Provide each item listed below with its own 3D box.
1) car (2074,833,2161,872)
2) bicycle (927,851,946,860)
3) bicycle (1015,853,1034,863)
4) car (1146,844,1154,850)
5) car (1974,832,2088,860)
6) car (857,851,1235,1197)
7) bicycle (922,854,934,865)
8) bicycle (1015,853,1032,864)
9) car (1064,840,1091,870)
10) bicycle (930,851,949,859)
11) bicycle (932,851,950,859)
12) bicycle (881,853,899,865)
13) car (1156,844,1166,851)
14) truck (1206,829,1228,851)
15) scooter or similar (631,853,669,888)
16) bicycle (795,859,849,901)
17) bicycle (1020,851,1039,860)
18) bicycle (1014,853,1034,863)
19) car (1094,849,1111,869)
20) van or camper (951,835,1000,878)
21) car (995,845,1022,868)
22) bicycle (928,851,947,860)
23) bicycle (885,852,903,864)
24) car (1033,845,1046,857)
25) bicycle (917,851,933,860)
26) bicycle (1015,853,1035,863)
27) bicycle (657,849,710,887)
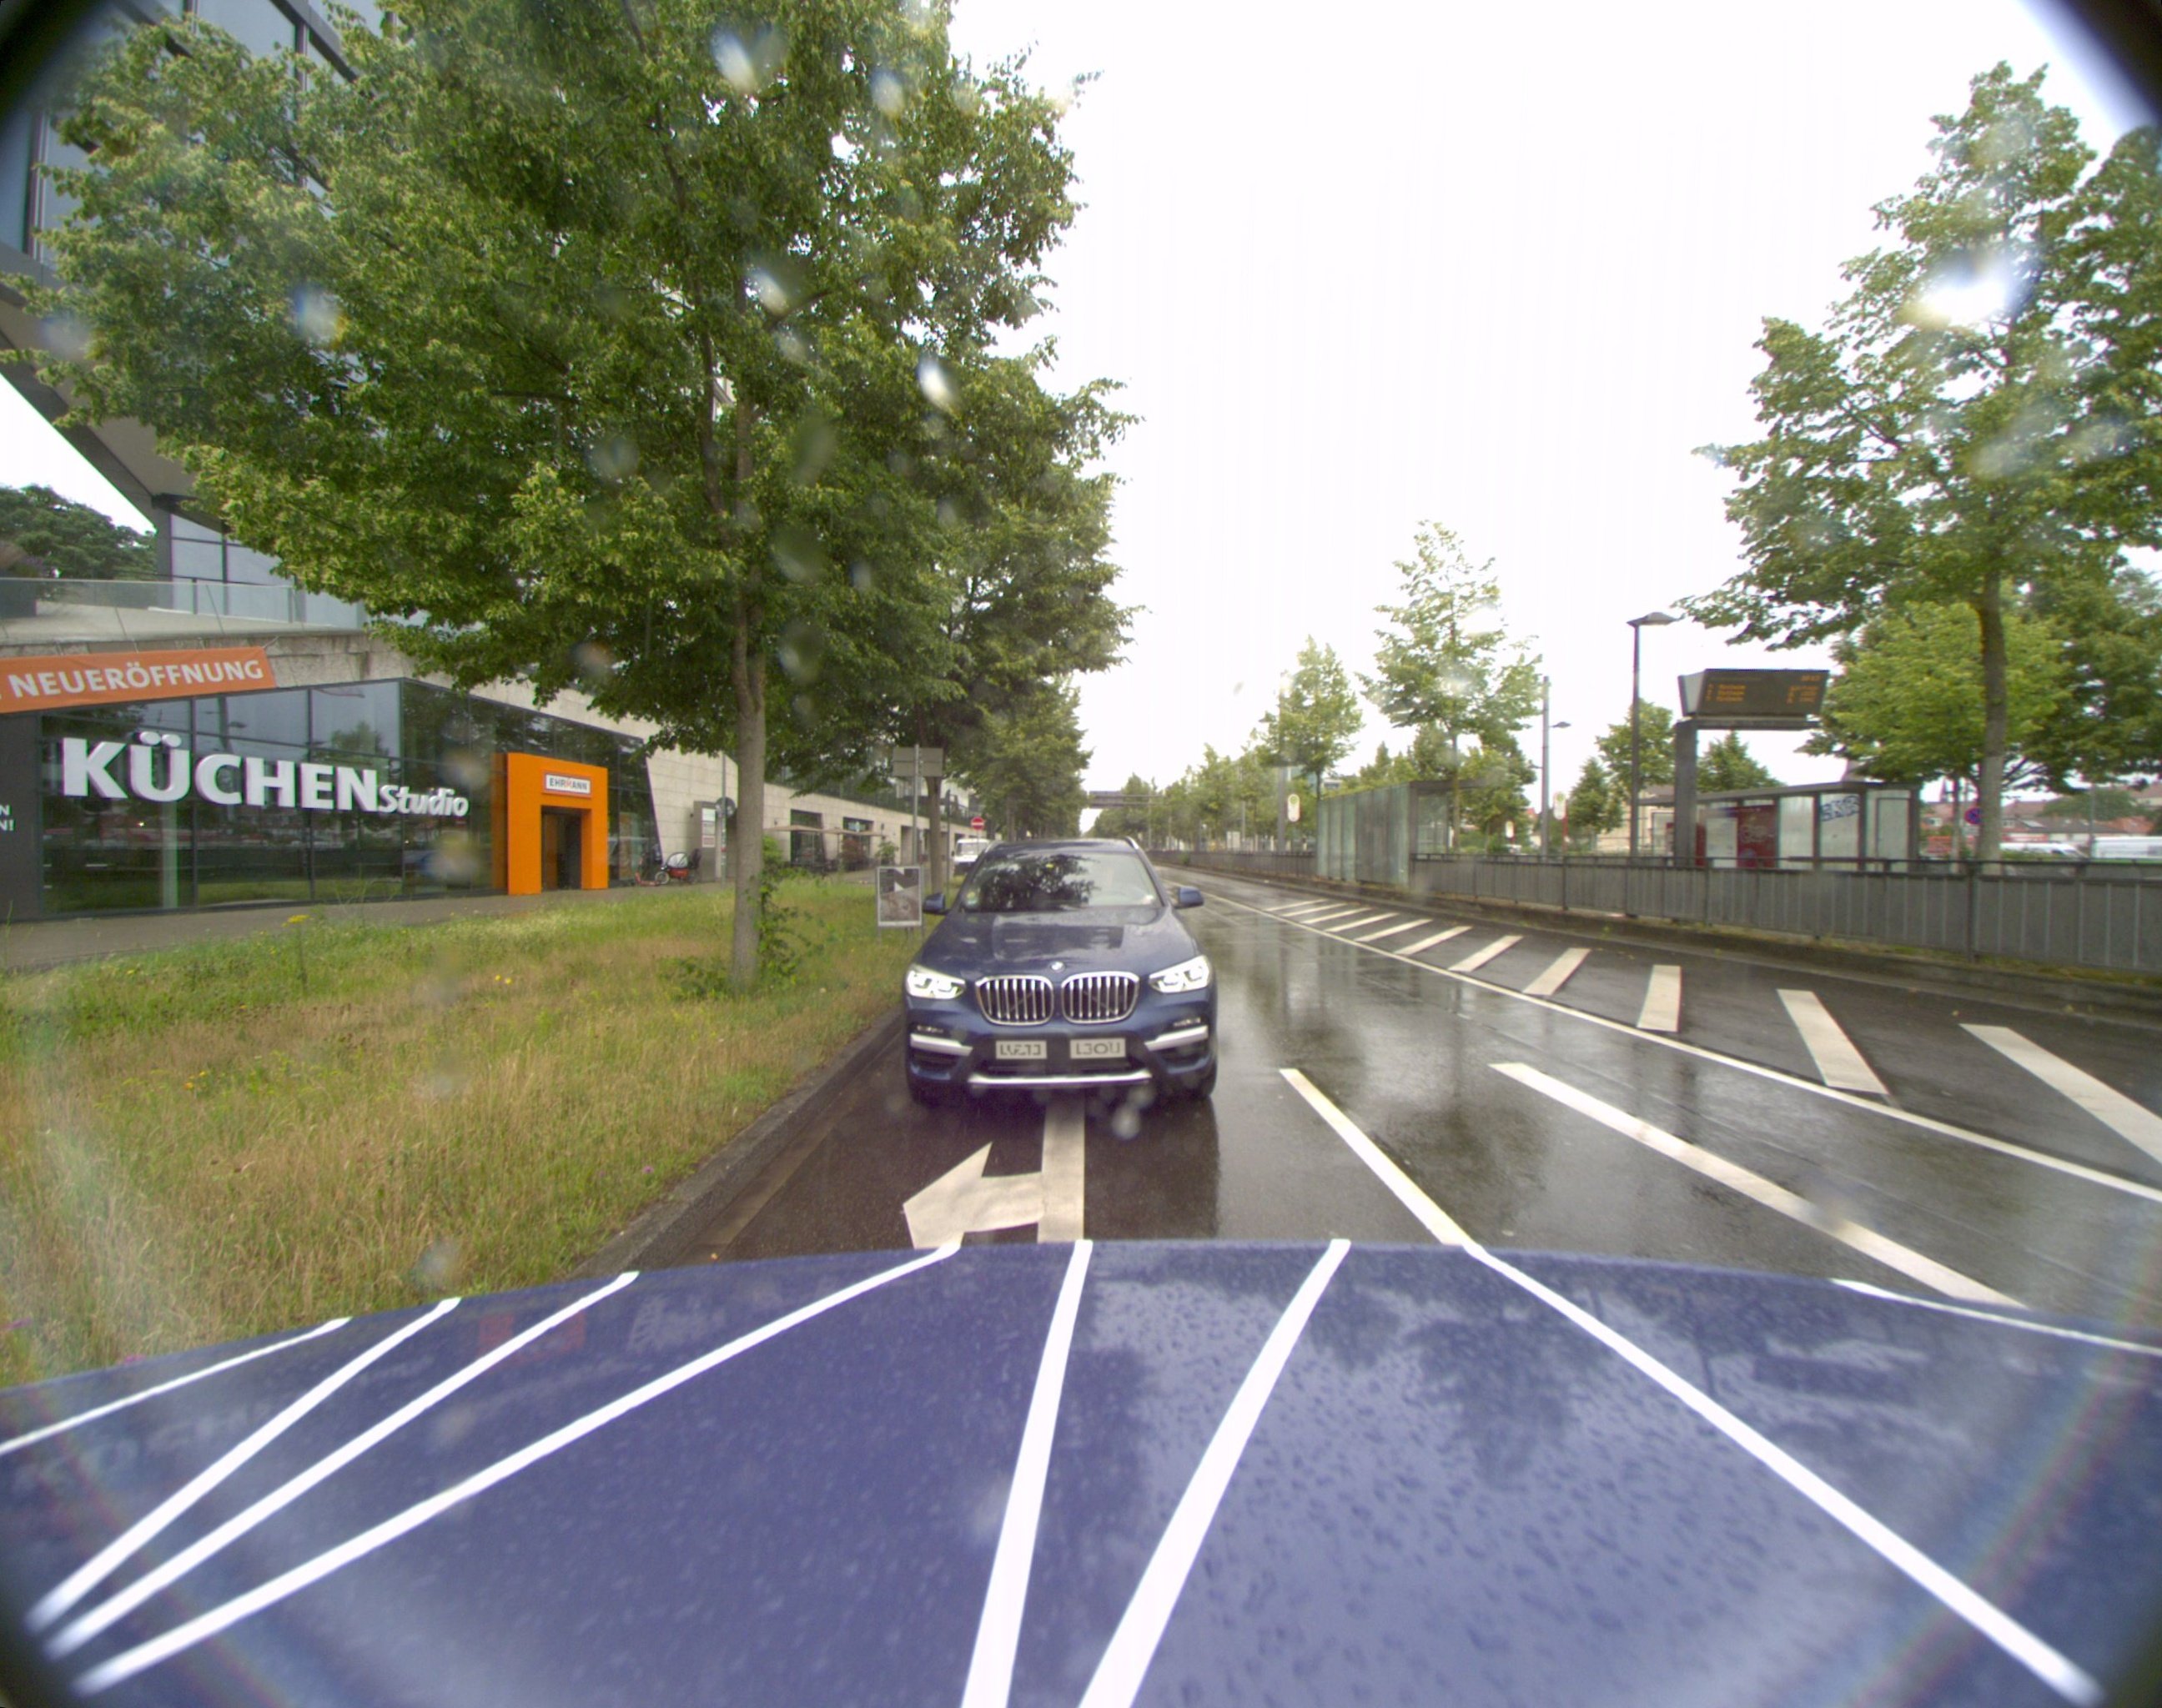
[{"bbox_3d":[70.092,-0.130,49.416,1.999,2.448,6.744,-2,1,-4],"label":"car"},{"bbox_3d":[-15.855,0.131,83.548,2.029,0.940,0.395,1,1,-4],"label":"bicycle"},{"bbox_3d":[-5.596,0.406,75.485,1.882,0.940,0.395,-2,2,-4],"label":"bicycle"},{"bbox_3d":[23.816,-2.390,261.768,1.999,1.736,3.998,-2,1,-2],"label":"car"},{"bbox_3d":[84.249,-0.754,67.557,2.000,2.293,6.138,-3,1,-9],"label":"car"},{"bbox_3d":[-0.142,0.844,5.775,1.816,1.603,3.999,-2,1,1],"label":"car"},{"bbox_3d":[-12.966,0.472,64.559,0.402,0.940,1.859,-1,1,8],"label":"bicycle"},{"bbox_3d":[-5.554,0.457,73.645,1.649,0.940,0.395,-2,2,-4],"label":"bicycle"},{"bbox_3d":[-0.214,0.027,60.700,1.998,2.232,3.999,-2,1,1],"label":"car"},{"bbox_3d":[-15.923,0.097,85.401,2.029,0.940,0.395,1,1,-4],"label":"bicycle"},{"bbox_3d":[-15.988,0.088,86.649,2.029,0.940,0.395,1,1,-4],"label":"bicycle"},{"bbox_3d":[-15.419,0.387,61.361,0.396,0.940,2.024,-4,2,-45],"label":"bicycle"},{"bbox_3d":[23.798,-1.940,225.793,2.000,1.736,3.997,-2,1,-7],"label":"car"},{"bbox_3d":[25.335,-2.609,142.124,2.693,3.756,9.182,-2,1,3],"label":"truck"},{"bbox_3d":[-15.668,0.580,27.651,0.342,1.221,1.242,-2,2,19],"label":"scooter or similar"},{"bbox_3d":[-8.608,0.856,25.268,1.843,1.338,0.533,-1,0,26],"label":"bicycle"},{"bbox_3d":[-5.633,0.179,83.586,2.040,0.940,0.519,-2,2,-4],"label":"bicycle"},{"bbox_3d":[-5.720,0.393,76.410,2.040,0.940,0.395,-2,2,-4],"label":"bicycle"},{"bbox_3d":[2.684,0.586,95.302,1.998,2.232,3.999,-2,1,1],"label":"car"},{"bbox_3d":[-5.916,0.091,43.388,2.030,2.279,5.458,-1,1,0],"label":"van or camper"},{"bbox_3d":[-5.882,0.152,62.219,1.746,1.749,4.847,-1,1,0],"label":"car"},{"bbox_3d":[-15.876,0.124,84.215,2.029,0.940,0.395,1,1,-4],"label":"bicycle"},{"bbox_3d":[-15.253,0.367,62.061,0.396,0.940,2.024,-4,2,-45],"label":"bicycle"},{"bbox_3d":[-6.029,-0.469,111.468,1.659,1.711,3.999,-2,1,0],"label":"car"},{"bbox_3d":[-16.325,0.185,79.676,1.657,0.940,0.347,1,2,19],"label":"bicycle"},{"bbox_3d":[-5.531,0.416,74.927,1.862,0.940,0.395,-2,2,-4],"label":"bicycle"},{"bbox_3d":[-15.407,0.517,29.506,0.734,1.394,2.425,1,0,1],"label":"bicycle"}]
